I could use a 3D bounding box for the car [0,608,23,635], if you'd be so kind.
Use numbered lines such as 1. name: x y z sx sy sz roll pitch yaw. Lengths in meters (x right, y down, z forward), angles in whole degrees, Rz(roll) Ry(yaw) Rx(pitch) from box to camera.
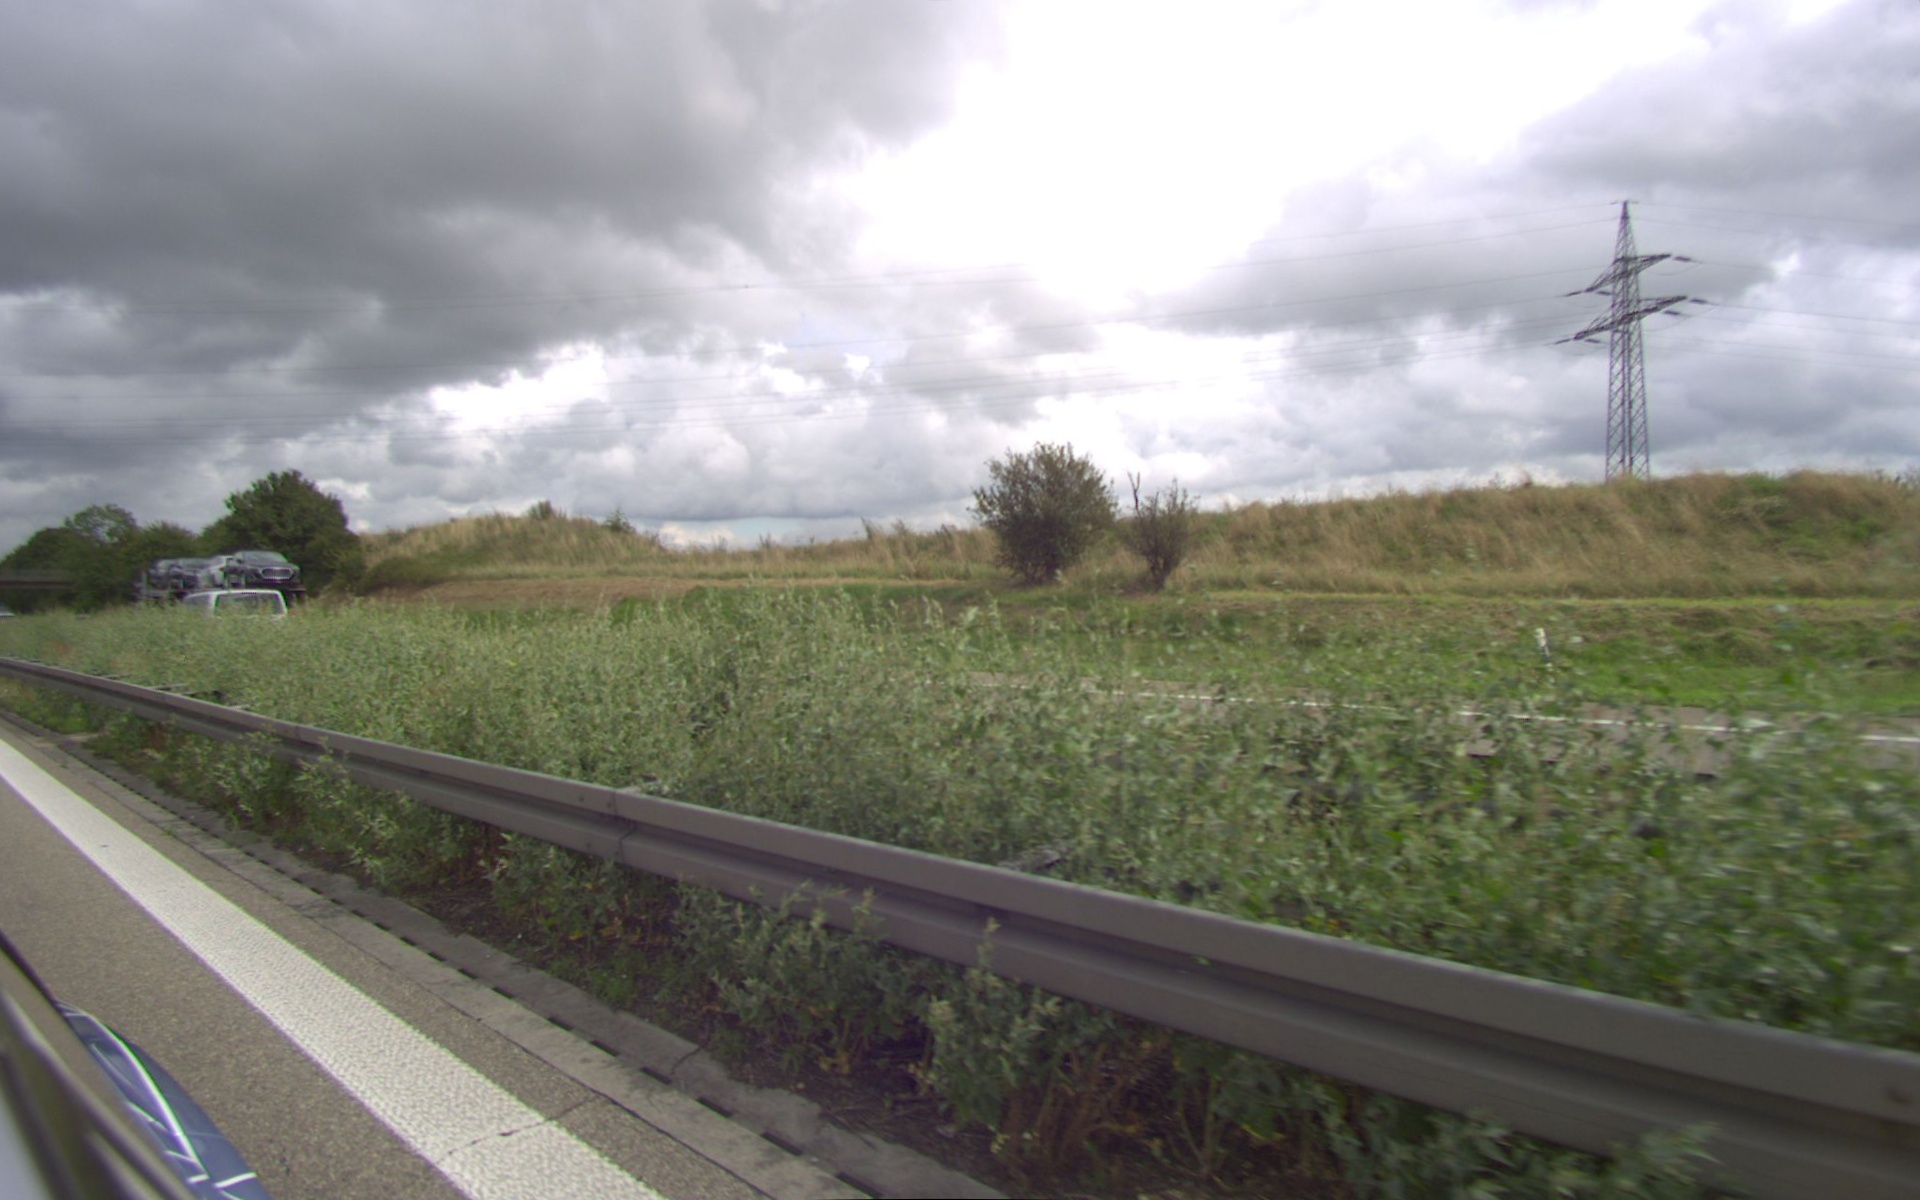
1. car: -63.619 1.443 66.919 3.998 1.696 1.973 -1 3 42

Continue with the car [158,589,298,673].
1. car: -19.636 0.780 27.058 5.030 2.029 1.973 -1 0 41

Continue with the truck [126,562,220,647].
1. truck: -39.472 0.267 50.693 5.985 3.966 2.694 -1 -1 42

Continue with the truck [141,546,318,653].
1. truck: -32.393 0.148 44.301 17.396 3.966 2.694 -1 -1 42
